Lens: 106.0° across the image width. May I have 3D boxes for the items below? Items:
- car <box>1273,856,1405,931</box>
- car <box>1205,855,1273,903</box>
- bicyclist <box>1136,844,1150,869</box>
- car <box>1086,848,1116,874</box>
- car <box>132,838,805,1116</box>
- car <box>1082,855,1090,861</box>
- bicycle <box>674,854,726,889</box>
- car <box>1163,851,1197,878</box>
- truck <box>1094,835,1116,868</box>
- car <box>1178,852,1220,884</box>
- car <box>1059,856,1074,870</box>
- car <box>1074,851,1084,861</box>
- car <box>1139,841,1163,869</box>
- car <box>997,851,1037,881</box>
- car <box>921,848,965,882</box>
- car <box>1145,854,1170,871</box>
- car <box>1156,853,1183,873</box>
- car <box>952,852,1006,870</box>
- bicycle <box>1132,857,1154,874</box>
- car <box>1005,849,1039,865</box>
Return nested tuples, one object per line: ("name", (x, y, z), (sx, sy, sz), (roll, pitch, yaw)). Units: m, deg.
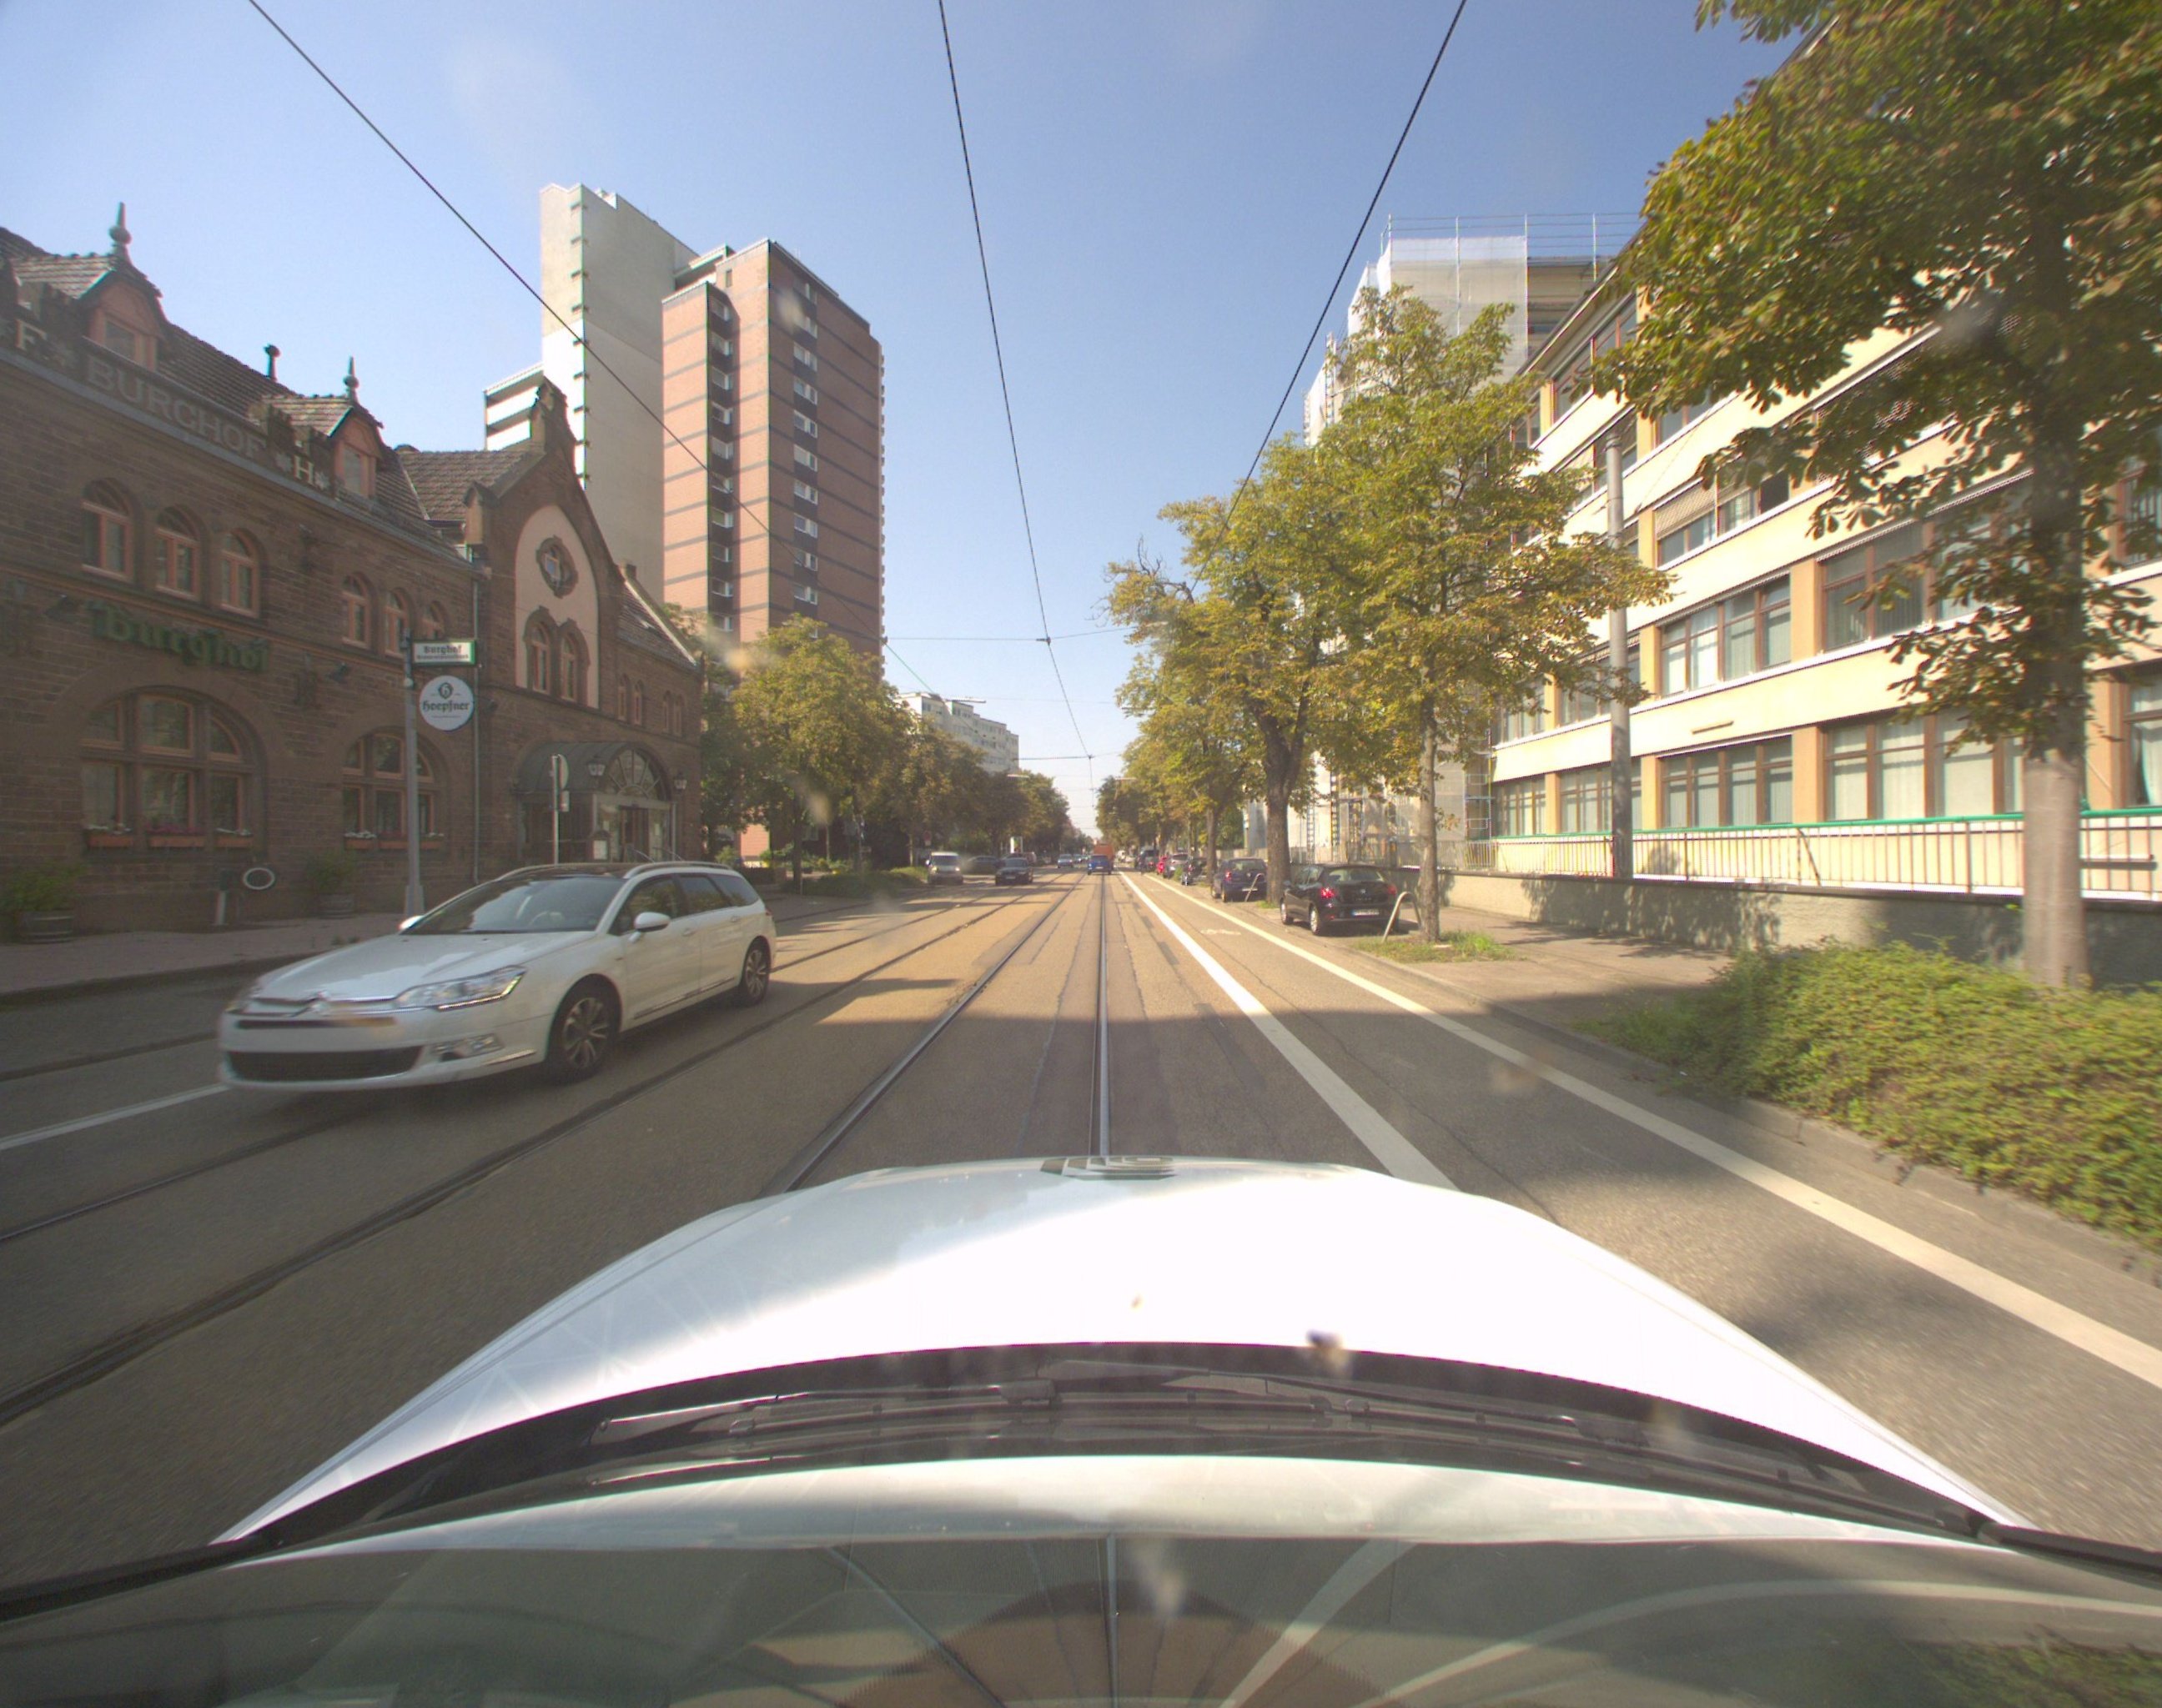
("car", (5.397, 0.753, 17.602), (1.653, 1.408, 4.219), (-1, 0, 2))
("car", (5.563, 0.828, 29.155), (1.736, 1.556, 4.219), (-1, 0, 2))
("bicyclist", (4.593, 0.167, 60.260), (1.028, 1.812, 1.016), (0, 0, 1))
("car", (1.557, 0.505, 61.991), (2.127, 1.858, 5.570), (-1, 0, 2))
("car", (-4.189, 0.667, 6.893), (1.839, 1.492, 4.870), (-1, 0, 2))
("car", (1.228, 0.935, 192.224), (1.892, 1.562, 4.122), (0, 0, 0))
("bicycle", (-12.787, 0.578, 27.346), (1.447, 1.093, 0.399), (3, 0, -3))
("car", (6.305, 0.617, 52.346), (1.734, 1.668, 4.362), (0, 0, 1))
("truck", (2.410, -0.236, 81.255), (2.127, 3.124, 6.087), (-1, 0, 2))
("car", (6.083, 0.699, 42.251), (1.628, 1.585, 4.189), (0, 0, 1))
("car", (-1.748, 1.061, 100.056), (1.774, 1.684, 4.347), (0, 0, 1))
("car", (-0.329, 0.327, 137.976), (1.628, 1.585, 4.189), (0, 0, 1))
("car", (7.108, 0.076, 83.462), (1.987, 2.755, 5.761), (0, 0, 1))
("car", (-3.397, 0.601, 43.885), (1.675, 1.571, 4.208), (0, 0, 2))
("car", (-7.875, 0.592, 46.343), (1.753, 1.796, 3.972), (0, 0, -21))
("car", (6.794, 0.715, 72.868), (1.901, 1.431, 4.292), (0, 0, 1))
("car", (6.806, 0.679, 62.724), (1.734, 1.462, 3.684), (0, 0, 1))
("car", (-9.307, 0.643, 74.564), (4.588, 1.552, 1.985), (0, 0, -22))
("bicycle", (4.557, 0.839, 60.271), (1.396, 1.134, 4.001), (0, 0, 2))
("car", (-7.421, 0.401, 102.357), (4.021, 2.013, 1.835), (0, 0, -42))
